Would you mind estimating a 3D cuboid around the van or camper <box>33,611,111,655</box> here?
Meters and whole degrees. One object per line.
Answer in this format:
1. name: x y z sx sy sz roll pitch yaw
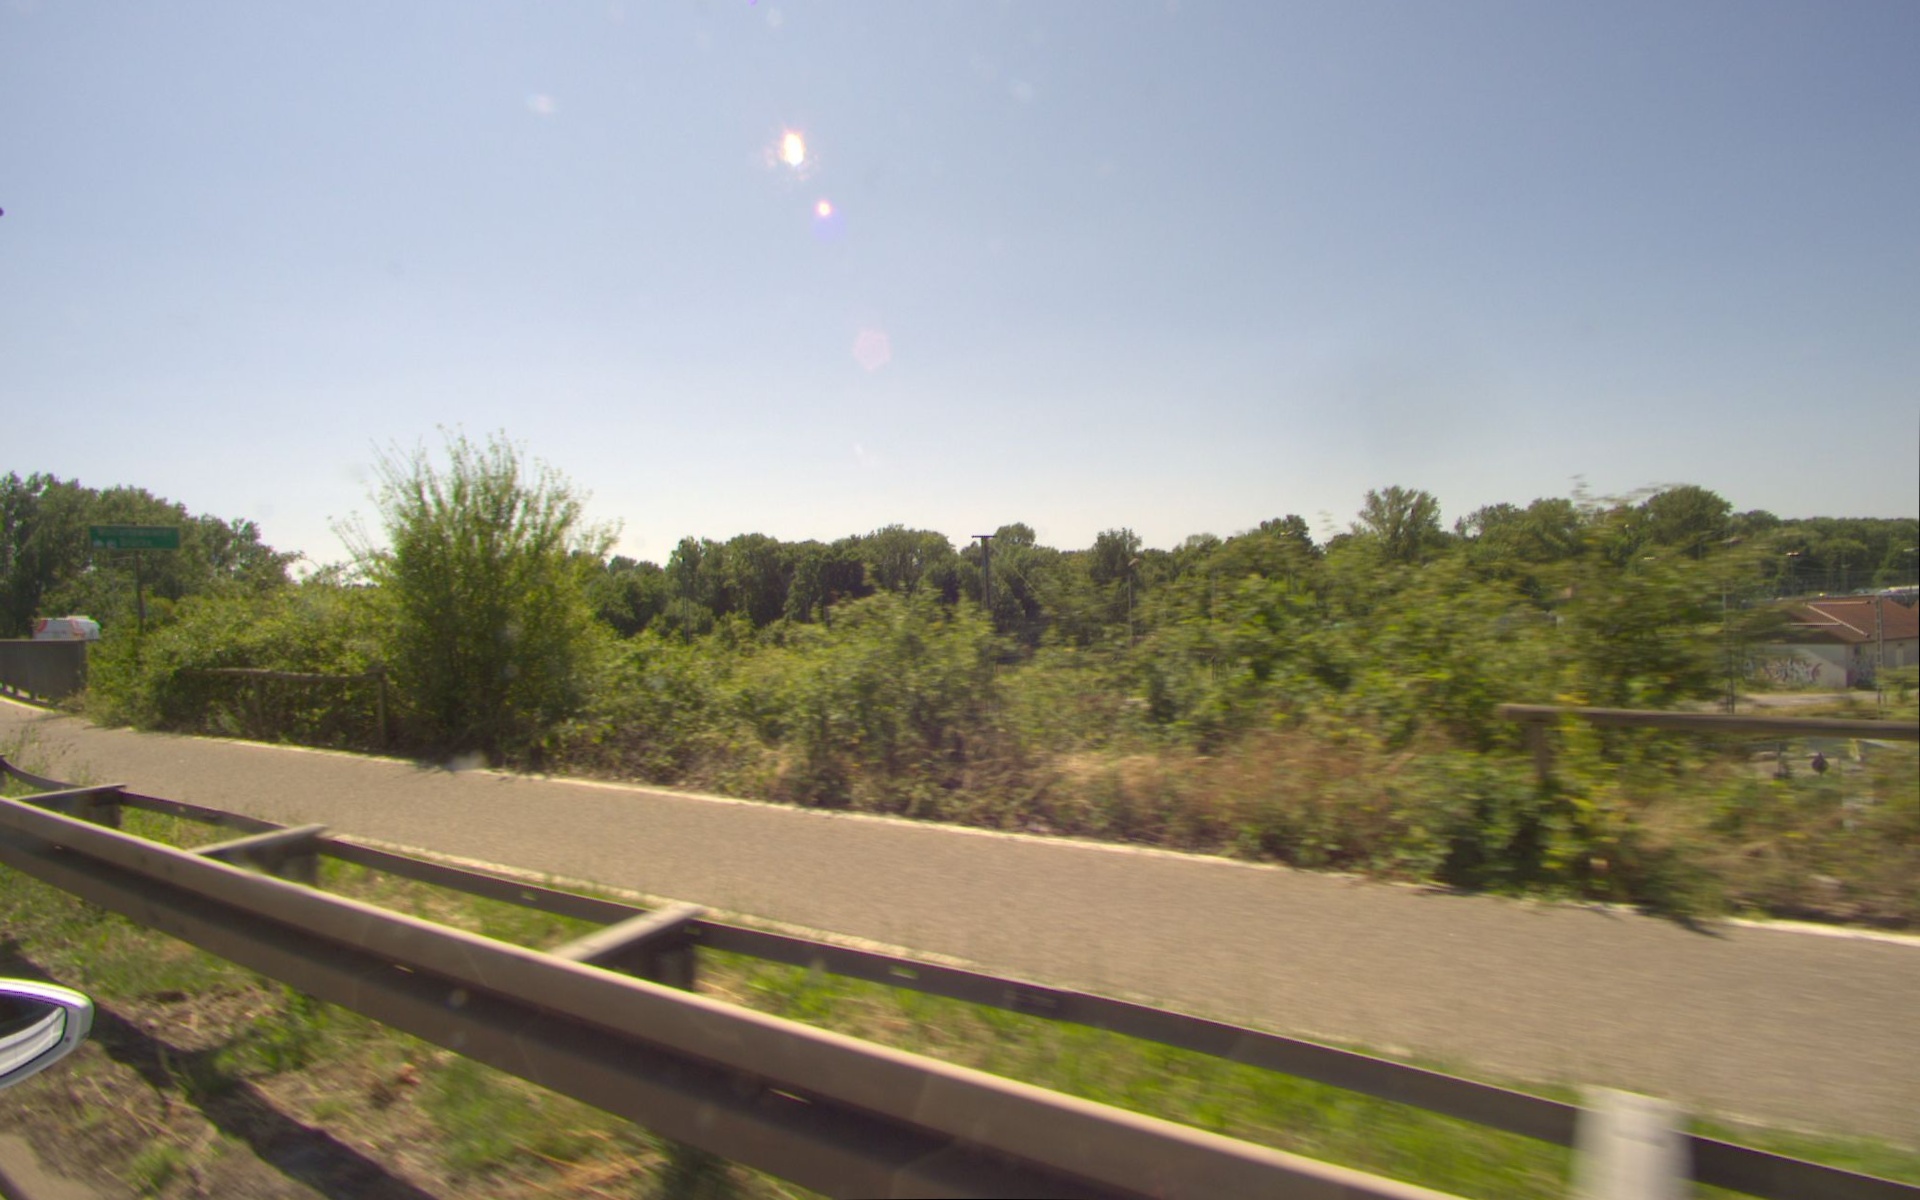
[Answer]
1. van or camper: -58.031 2.173 65.565 2.175 2.746 5.905 0 -1 -25
